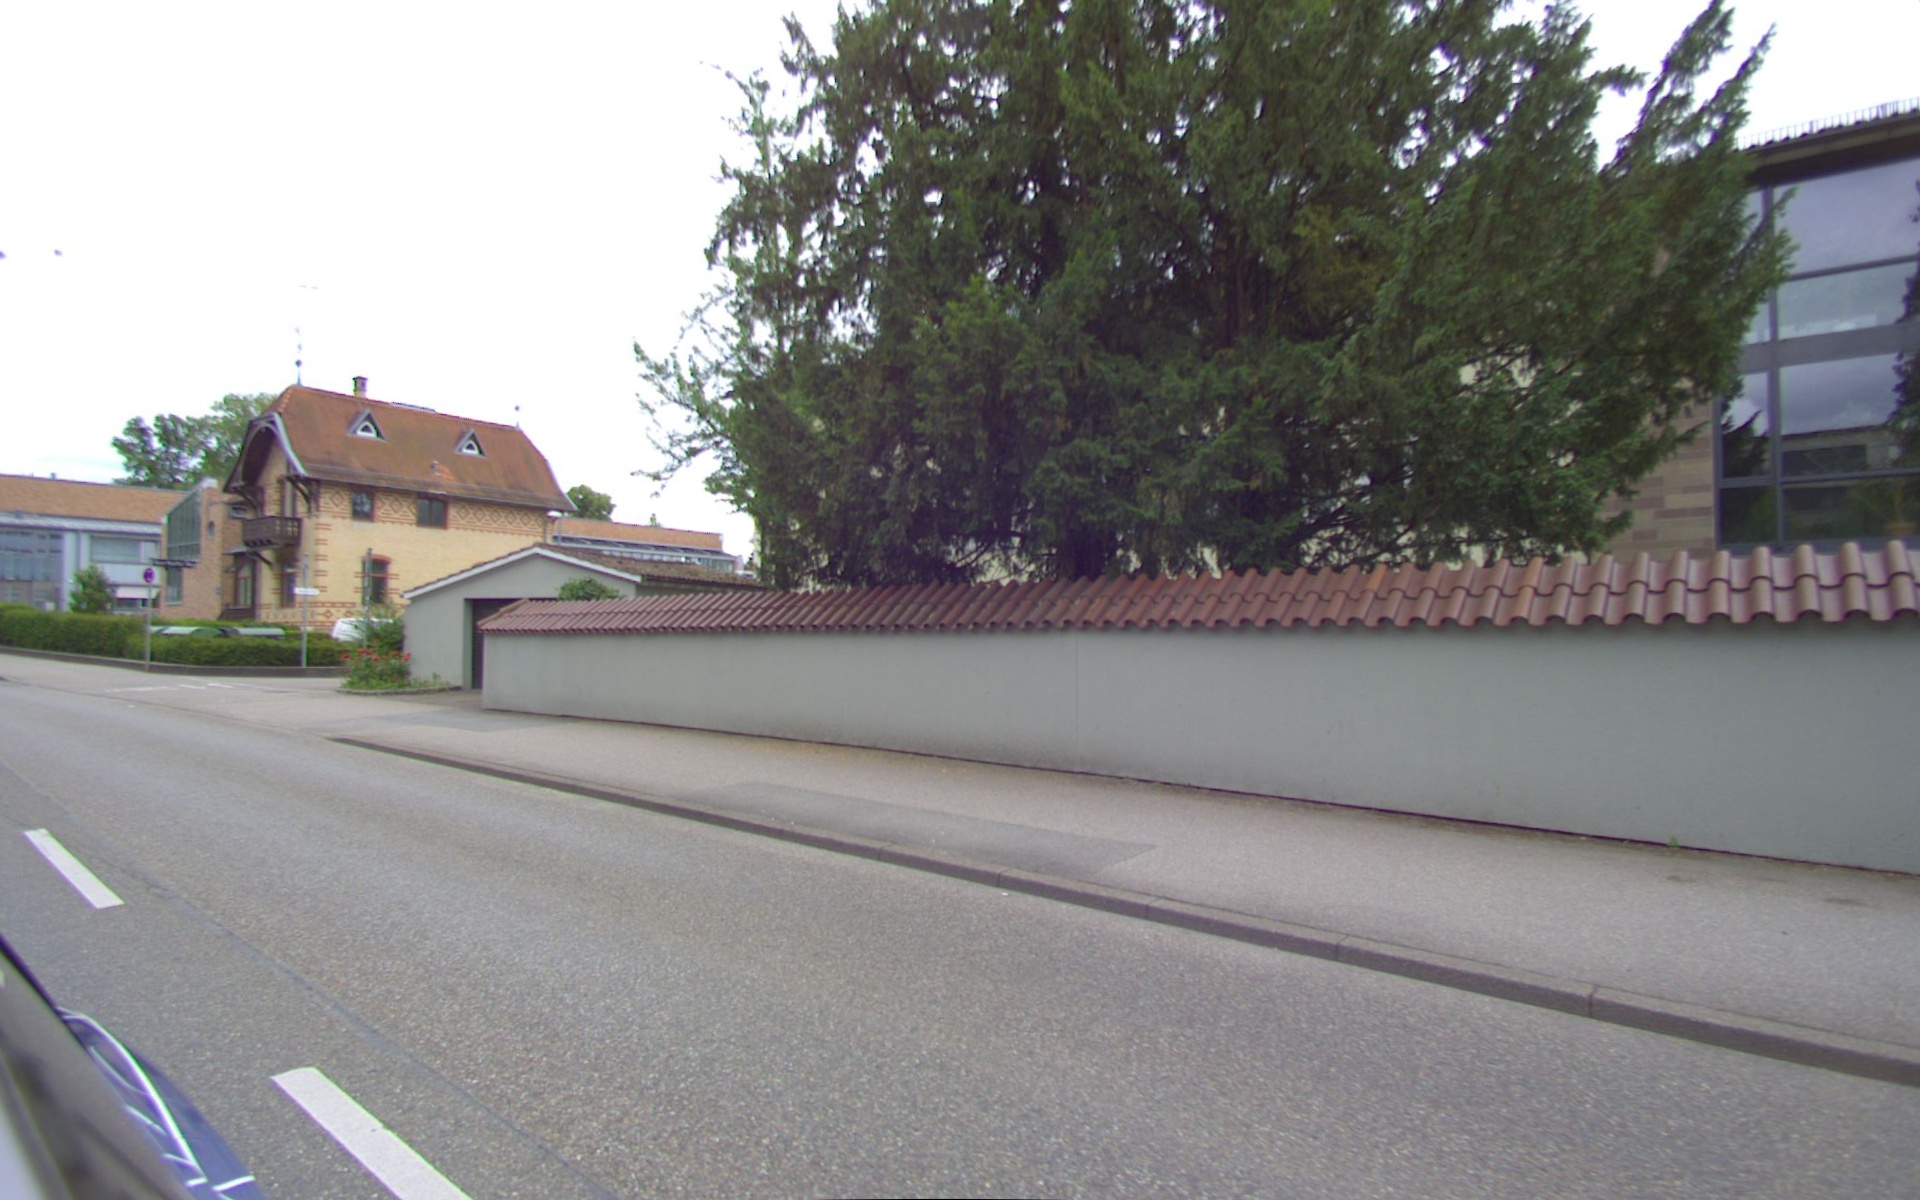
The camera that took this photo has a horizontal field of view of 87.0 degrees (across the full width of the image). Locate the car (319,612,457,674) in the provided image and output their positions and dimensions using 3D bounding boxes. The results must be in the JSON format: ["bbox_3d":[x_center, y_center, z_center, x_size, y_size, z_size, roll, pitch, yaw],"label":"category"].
[{"bbox_3d":[-20.441,1.495,36.153,4.586,2.085,1.880,0,-1,23],"label":"car"}]
